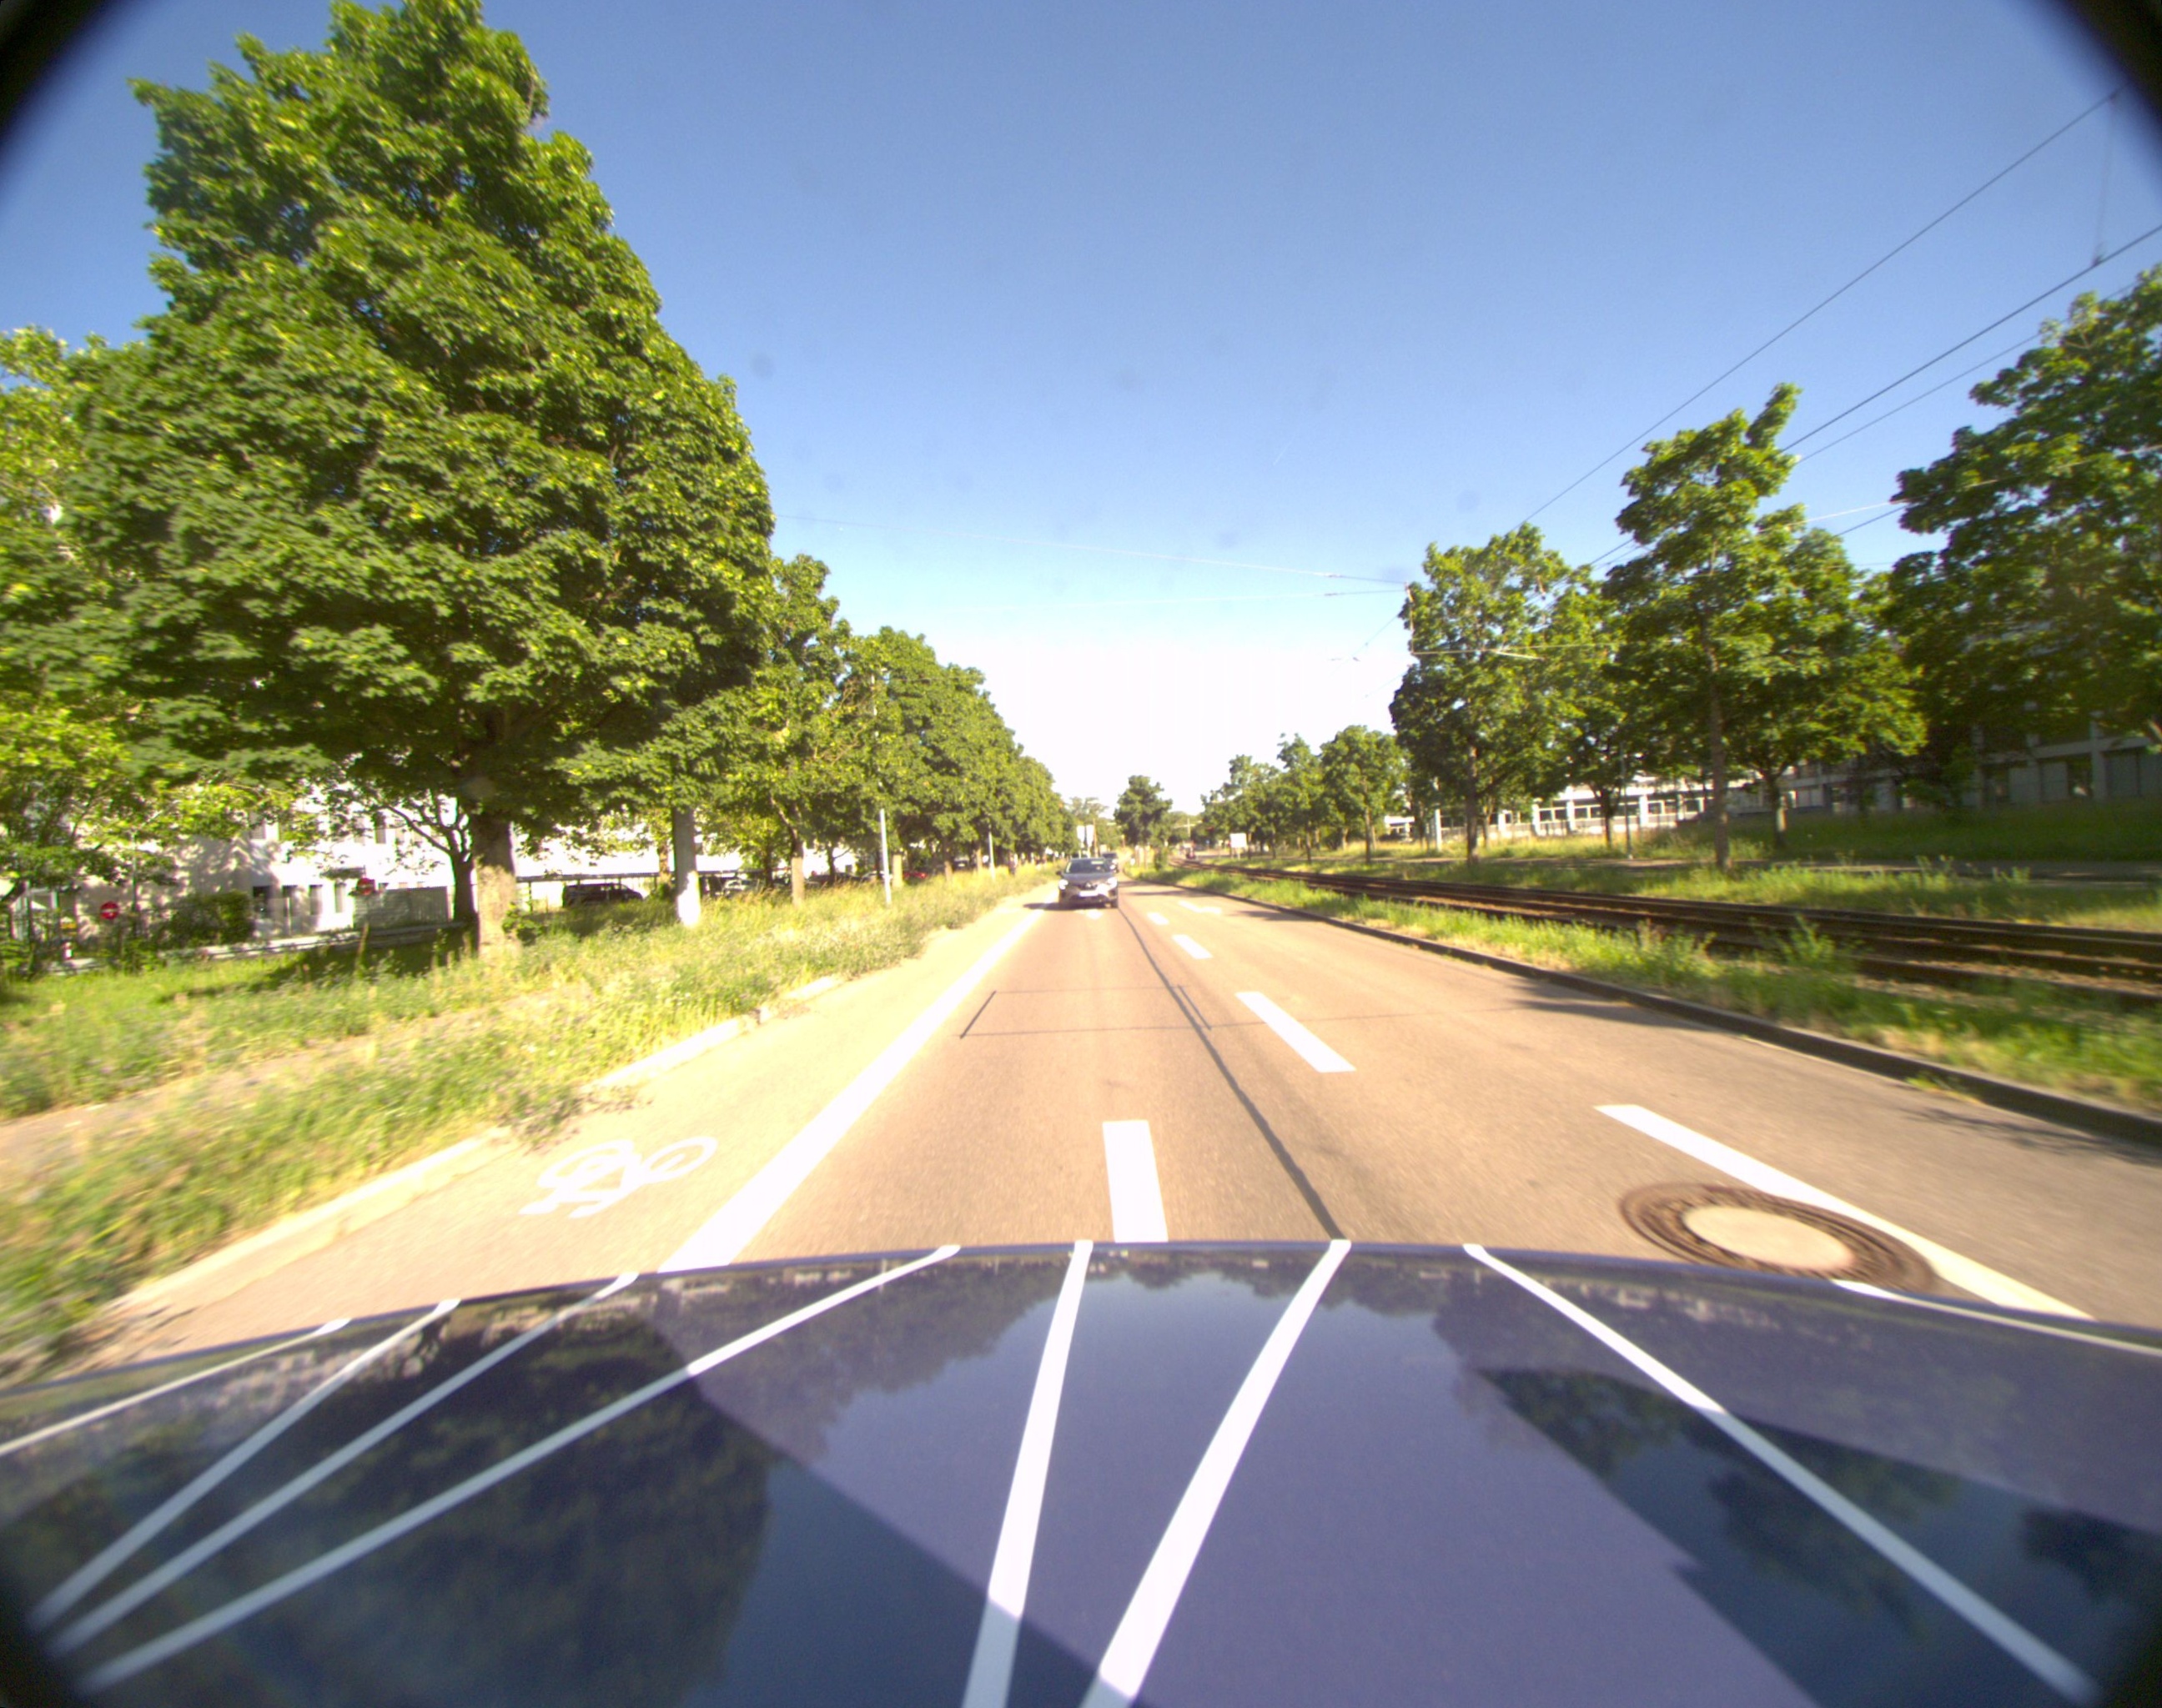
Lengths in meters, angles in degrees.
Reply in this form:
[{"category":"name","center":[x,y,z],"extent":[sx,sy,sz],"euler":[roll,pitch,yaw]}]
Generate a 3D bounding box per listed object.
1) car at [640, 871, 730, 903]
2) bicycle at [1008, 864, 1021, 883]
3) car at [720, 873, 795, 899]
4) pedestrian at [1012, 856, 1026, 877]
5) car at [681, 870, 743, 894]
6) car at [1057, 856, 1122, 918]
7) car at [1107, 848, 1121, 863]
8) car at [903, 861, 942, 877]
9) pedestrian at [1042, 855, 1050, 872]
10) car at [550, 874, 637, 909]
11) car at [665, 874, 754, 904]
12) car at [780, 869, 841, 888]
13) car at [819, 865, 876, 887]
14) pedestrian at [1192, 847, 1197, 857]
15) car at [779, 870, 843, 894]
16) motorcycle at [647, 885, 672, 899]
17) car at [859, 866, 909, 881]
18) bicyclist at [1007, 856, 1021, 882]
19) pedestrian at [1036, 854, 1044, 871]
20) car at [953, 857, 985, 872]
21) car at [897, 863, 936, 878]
[{"category":"car","center":[-22.100,1.836,42.461],"extent":[4.039,1.496,1.738],"euler":[-3,0,3]},{"category":"bicycle","center":[-4.417,1.266,50.299],"extent":[0.484,1.197,2.144],"euler":[-4,0,3]},{"category":"car","center":[-21.632,2.137,50.904],"extent":[4.174,1.423,1.825],"euler":[-4,0,6]},{"category":"pedestrian","center":[-4.913,0.972,60.281],"extent":[0.826,1.560,0.762],"euler":[-4,1,4]},{"category":"car","center":[-34.196,2.548,70.462],"extent":[4.760,1.938,1.975],"euler":[-3,0,2]},{"category":"car","center":[0.332,0.912,23.097],"extent":[1.750,1.585,4.247],"euler":[-2,1,3]},{"category":"car","center":[4.177,0.207,95.805],"extent":[1.555,1.764,3.457],"euler":[-3,0,3]},{"category":"car","center":[-19.256,1.803,92.335],"extent":[4.348,1.690,1.765],"euler":[-3,0,-6]},{"category":"pedestrian","center":[-4.114,1.099,88.301],"extent":[0.709,1.906,0.817],"euler":[-4,1,4]},{"category":"car","center":[-33.078,2.527,51.633],"extent":[4.595,2.002,1.958],"euler":[-3,0,4]},{"category":"car","center":[-21.701,2.056,44.480],"extent":[4.365,1.450,1.689],"euler":[-3,0,6]},{"category":"car","center":[-22.340,2.009,62.800],"extent":[4.301,1.316,1.941],"euler":[-3,-1,8]},{"category":"car","center":[-20.670,1.953,67.432],"extent":[4.403,1.587,1.884],"euler":[-3,0,0]},{"category":"pedestrian","center":[20.793,-0.316,139.118],"extent":[0.785,1.741,0.782],"euler":[-4,1,3]},{"category":"car","center":[-19.893,2.052,56.030],"extent":[4.004,1.516,1.706],"euler":[-3,0,0]},{"category":"motorcycle","center":[-33.809,3.041,60.942],"extent":[1.653,0.965,0.538],"euler":[-3,0,2]},{"category":"car","center":[-20.401,2.010,78.830],"extent":[4.709,1.263,1.808],"euler":[-3,-1,0]},{"category":"bicyclist","center":[-4.420,0.982,50.378],"extent":[0.684,1.710,0.902],"euler":[-3,1,3]},{"category":"pedestrian","center":[-4.719,1.033,88.315],"extent":[0.709,1.919,0.816],"euler":[-4,1,2]},{"category":"car","center":[-16.059,1.533,109.169],"extent":[1.922,1.741,5.443],"euler":[-4,0,-39]},{"category":"car","center":[-19.456,1.974,90.088],"extent":[4.243,1.527,1.765],"euler":[-3,0,-6]}]
